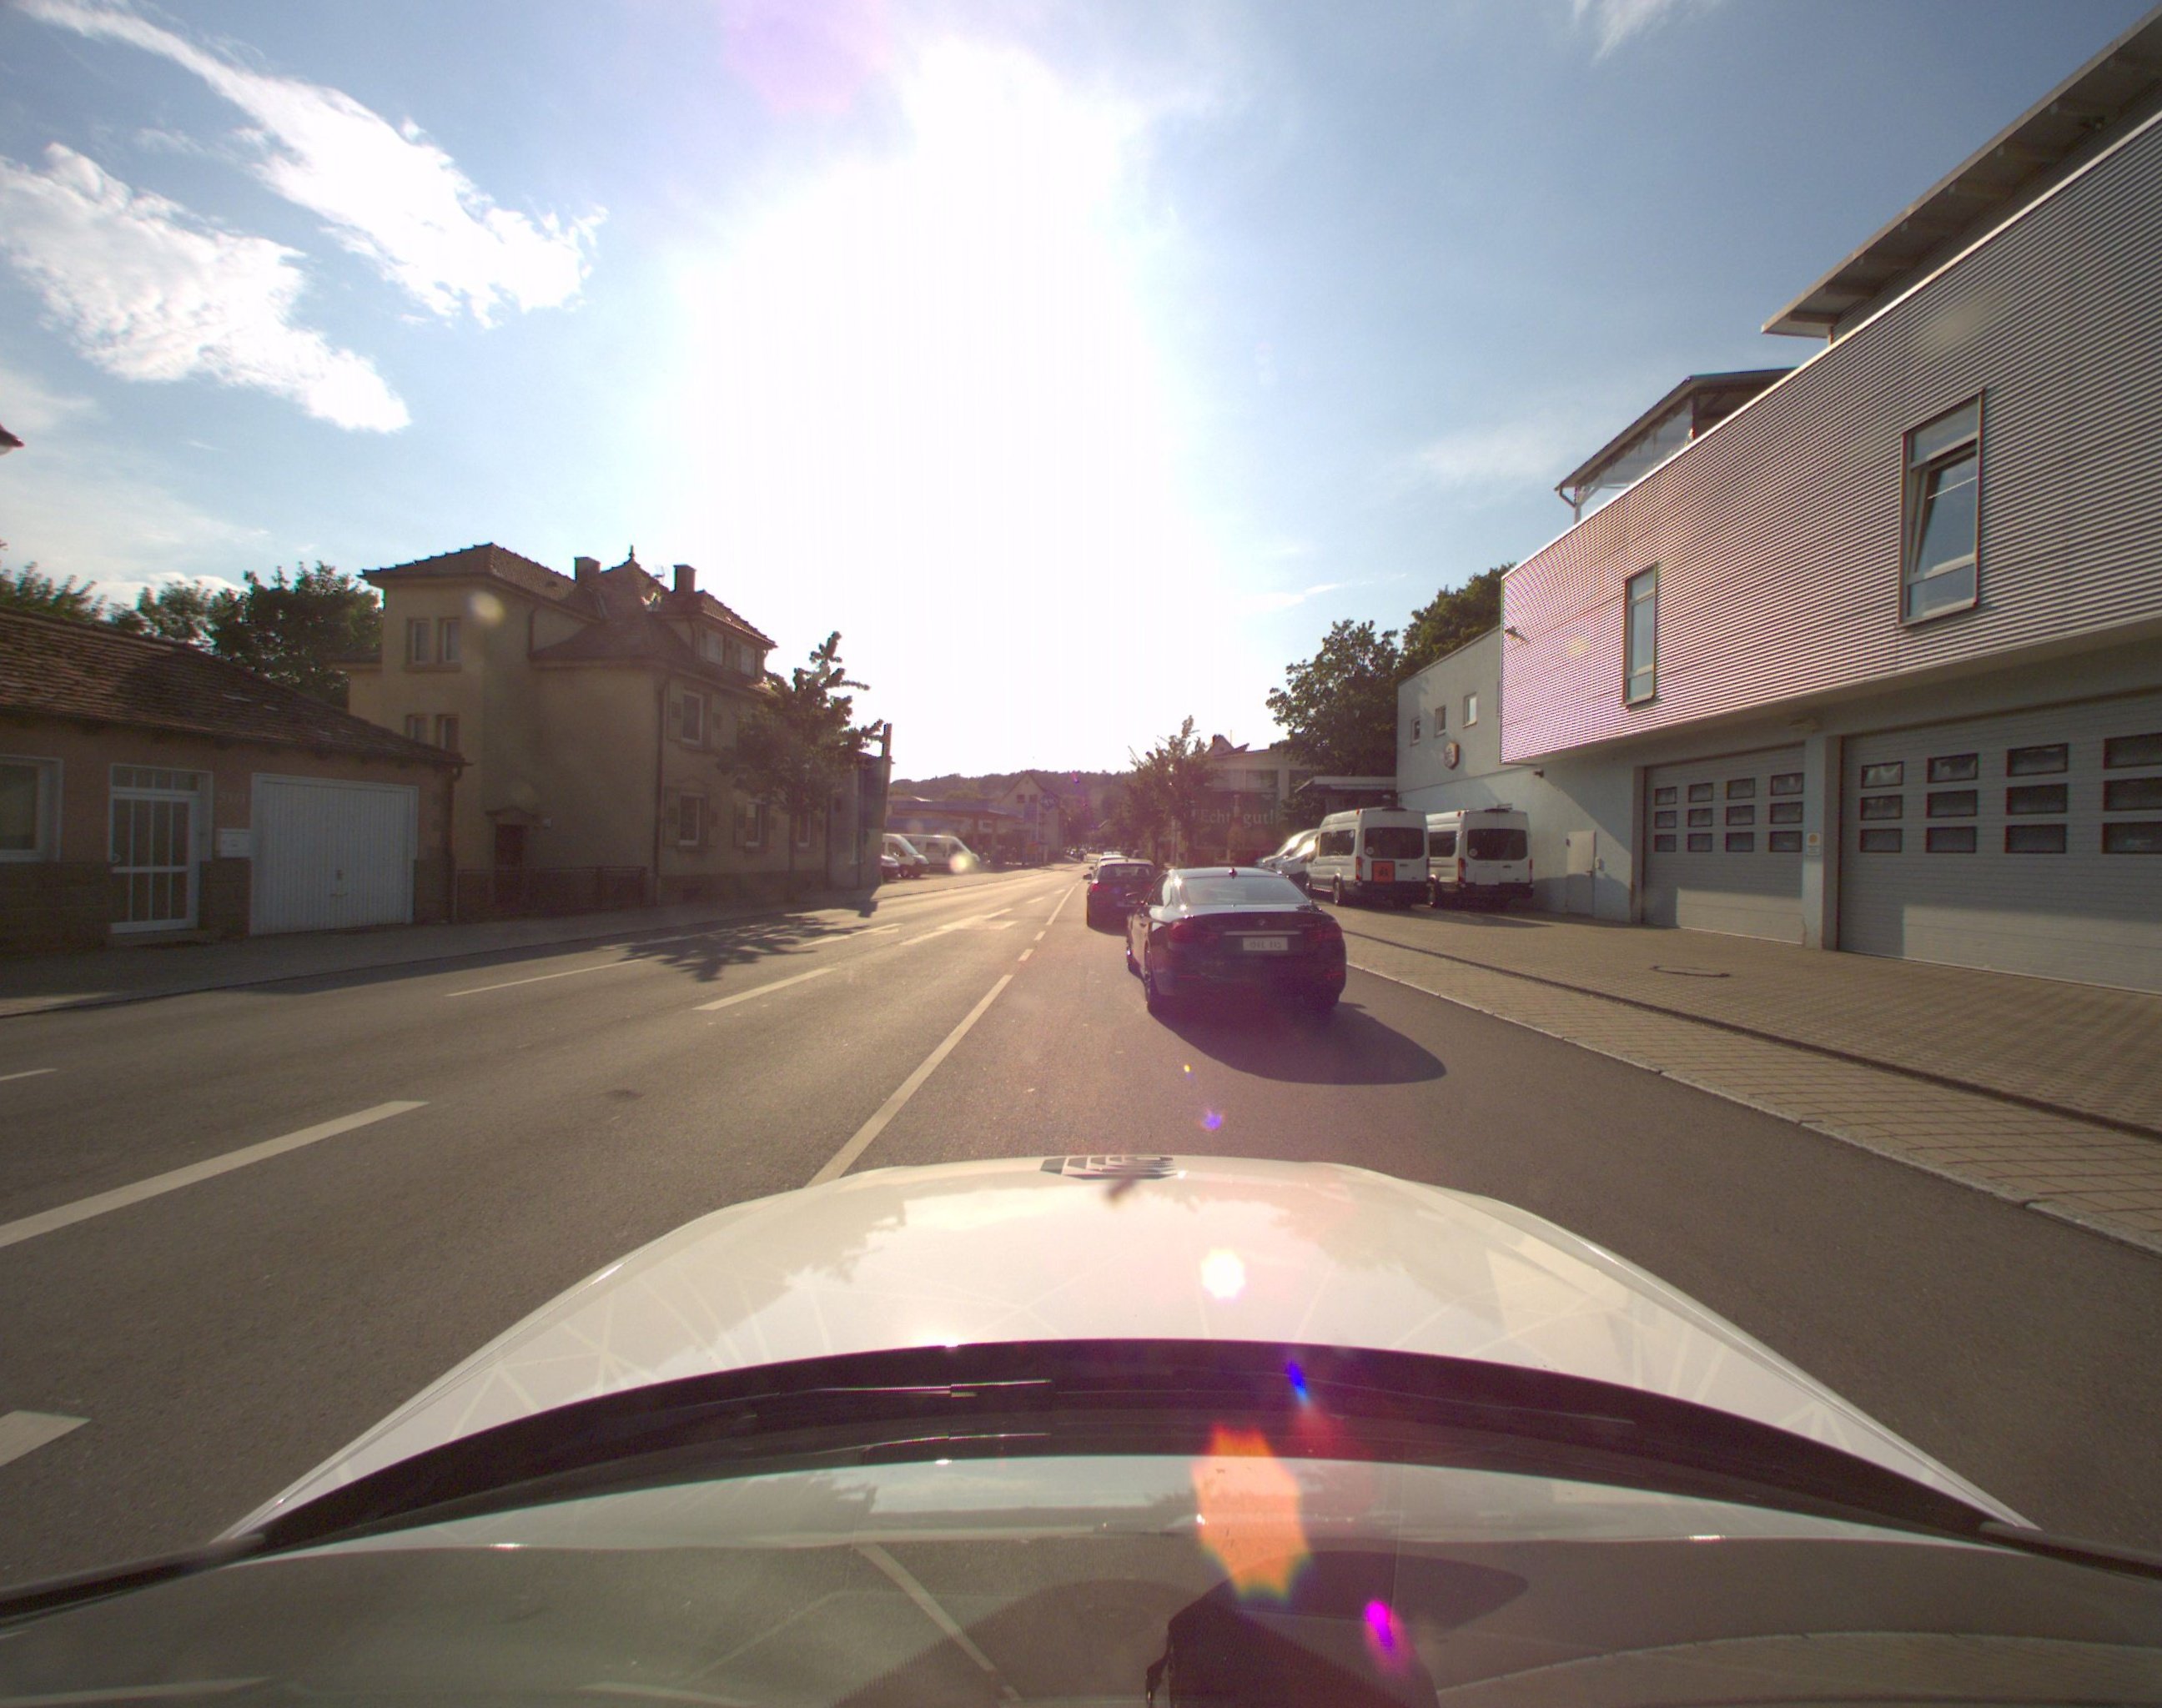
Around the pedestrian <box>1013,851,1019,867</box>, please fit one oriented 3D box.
[{"bbox_3d":[-6.977,0.528,87.278,0.608,1.670,0.442,0,0,-1],"label":"pedestrian"}]

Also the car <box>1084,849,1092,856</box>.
[{"bbox_3d":[1.555,-0.353,182.160,1.591,1.485,3.476,1,0,2],"label":"car"}]

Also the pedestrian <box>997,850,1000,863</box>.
[{"bbox_3d":[-8.806,0.264,86.570,0.261,1.383,0.288,0,0,1],"label":"pedestrian"}]

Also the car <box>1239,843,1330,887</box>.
[{"bbox_3d":[8.798,0.462,35.394,3.588,1.894,1.586,0,0,-1],"label":"car"}]

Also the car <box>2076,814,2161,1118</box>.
[{"bbox_3d":[6.928,0.614,2.606,1.831,1.649,4.531,0,0,-5],"label":"car"}]

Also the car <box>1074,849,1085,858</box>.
[{"bbox_3d":[-0.193,-0.102,134.093,1.591,1.485,3.476,1,0,2],"label":"car"}]

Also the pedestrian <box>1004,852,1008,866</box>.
[{"bbox_3d":[-8.055,0.560,87.420,0.406,1.547,0.432,0,0,-1],"label":"pedestrian"}]

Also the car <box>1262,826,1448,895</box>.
[{"bbox_3d":[9.702,0.228,29.190,6.023,2.363,2.044,0,0,0],"label":"car"}]

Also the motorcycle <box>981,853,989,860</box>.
[{"bbox_3d":[-10.272,0.266,87.498,0.456,0.730,1.478,0,0,10],"label":"motorcycle"}]

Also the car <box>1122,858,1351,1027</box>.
[{"bbox_3d":[1.435,0.758,9.065,1.694,1.369,4.261,0,0,-1],"label":"car"}]

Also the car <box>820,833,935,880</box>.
[{"bbox_3d":[-11.619,0.129,46.683,5.888,2.480,2.198,1,1,7],"label":"car"}]

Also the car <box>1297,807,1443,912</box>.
[{"bbox_3d":[8.301,0.111,24.242,2.142,2.680,6.605,0,0,1],"label":"car"}]

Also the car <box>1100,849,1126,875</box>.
[{"bbox_3d":[2.229,0.514,56.534,1.595,1.767,3.416,0,0,5],"label":"car"}]

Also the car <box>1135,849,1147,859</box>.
[{"bbox_3d":[8.926,0.035,121.292,1.591,1.485,3.476,1,0,2],"label":"car"}]

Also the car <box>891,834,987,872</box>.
[{"bbox_3d":[-9.757,-0.097,56.373,6.133,2.444,2.251,1,0,2],"label":"car"}]

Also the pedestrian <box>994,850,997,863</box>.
[{"bbox_3d":[-9.049,0.274,85.876,0.286,1.366,0.263,0,0,-2],"label":"pedestrian"}]

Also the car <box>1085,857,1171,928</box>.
[{"bbox_3d":[1.082,0.793,18.463,1.764,1.456,3.519,0,0,4],"label":"car"}]

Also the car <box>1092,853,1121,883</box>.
[{"bbox_3d":[1.478,0.748,46.653,1.586,1.600,3.895,0,0,2],"label":"car"}]

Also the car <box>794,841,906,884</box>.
[{"bbox_3d":[-11.516,0.419,40.707,4.952,1.999,1.938,1,0,5],"label":"car"}]

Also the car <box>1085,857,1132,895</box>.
[{"bbox_3d":[1.070,0.840,32.947,1.748,1.414,3.420,0,0,-1],"label":"car"}]

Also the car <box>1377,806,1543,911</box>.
[{"bbox_3d":[11.019,0.102,24.398,2.104,2.722,6.444,0,0,1],"label":"car"}]

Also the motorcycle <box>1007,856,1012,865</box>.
[{"bbox_3d":[-7.635,0.729,86.958,0.362,0.943,1.696,0,0,1],"label":"motorcycle"}]

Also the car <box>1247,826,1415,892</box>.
[{"bbox_3d":[9.784,0.180,32.198,6.023,2.516,2.044,0,0,0],"label":"car"}]
